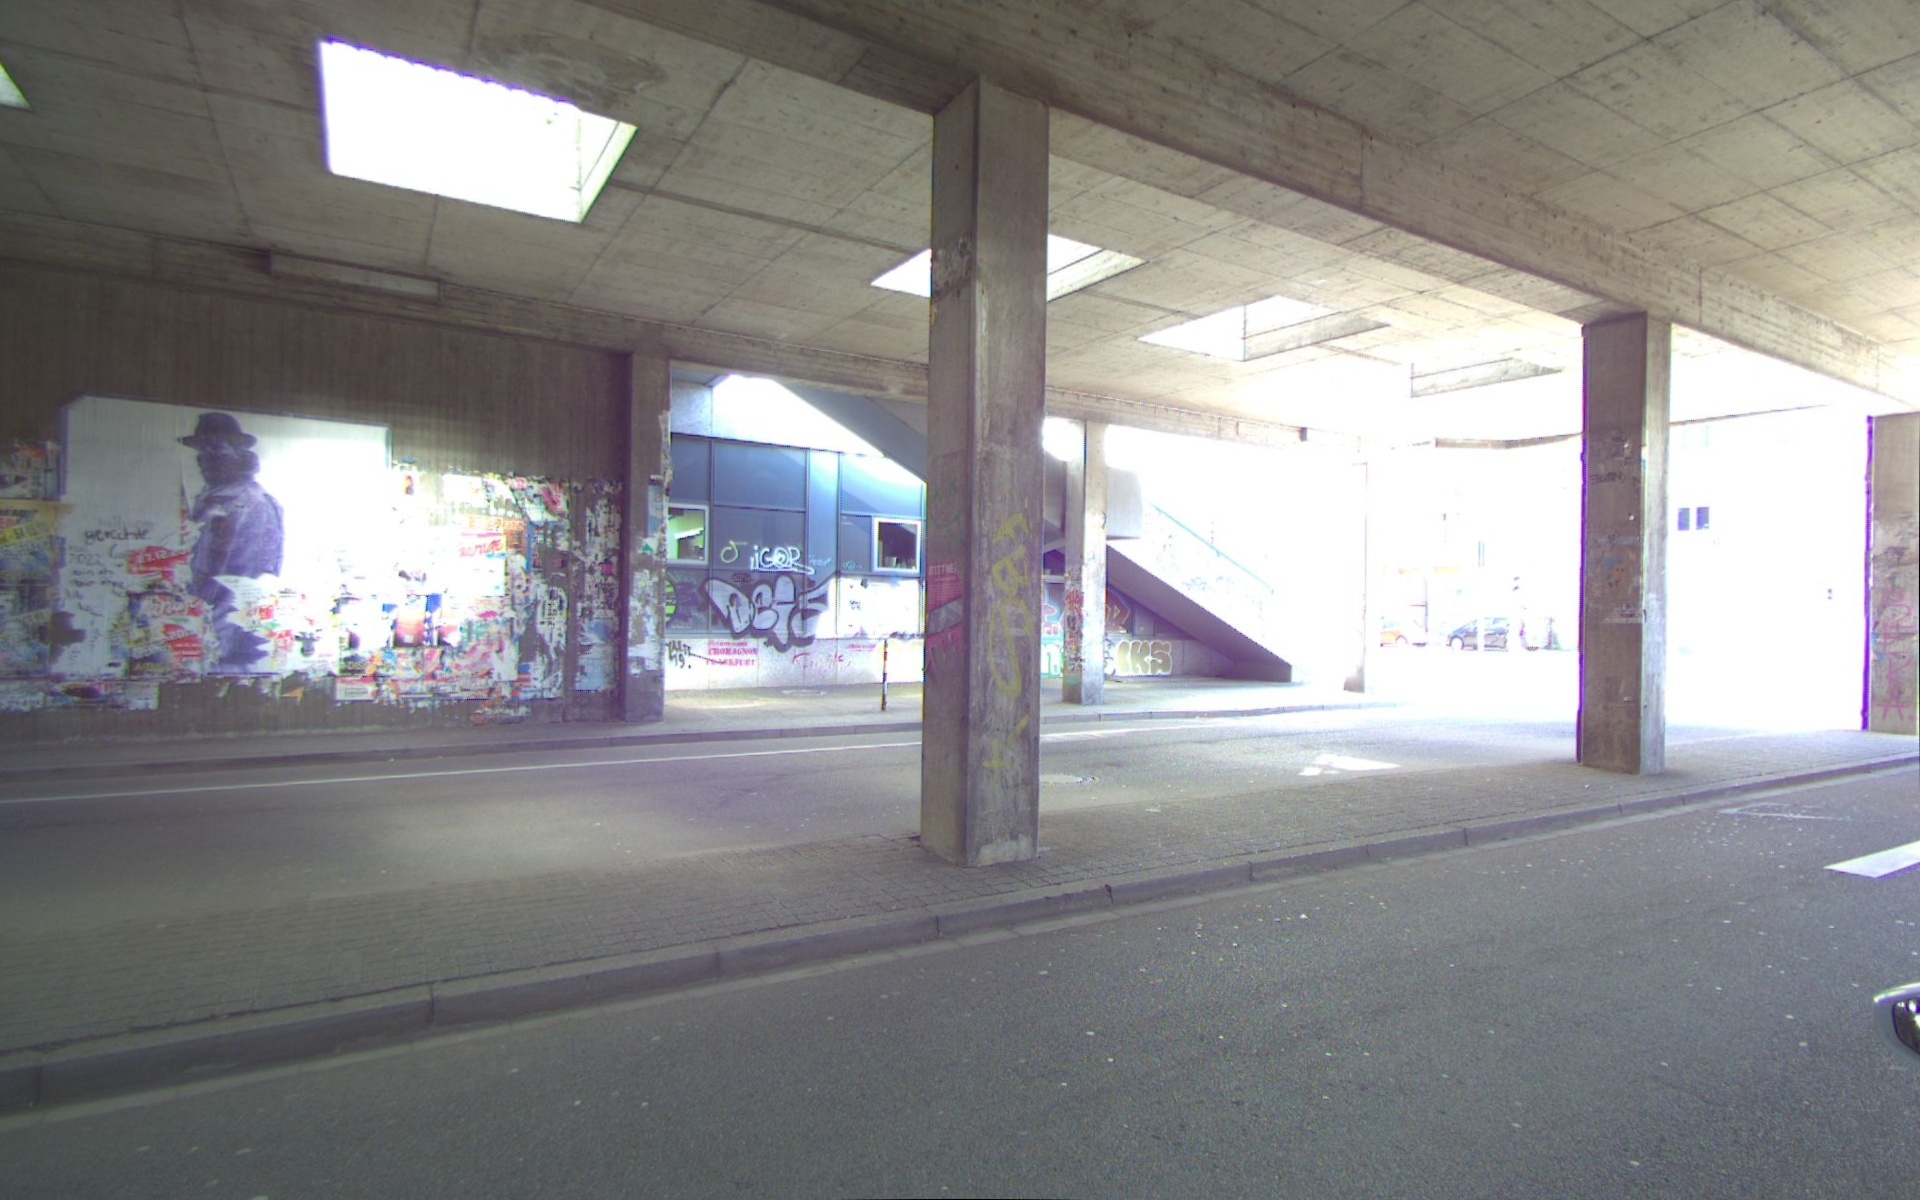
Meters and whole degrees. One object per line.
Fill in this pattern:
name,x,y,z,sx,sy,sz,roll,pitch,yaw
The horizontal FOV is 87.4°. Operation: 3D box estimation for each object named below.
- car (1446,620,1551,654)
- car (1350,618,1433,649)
car,25.464,1.721,47.650,1.718,1.495,4.089,2,-1,-31
car,22.552,1.742,52.605,1.730,1.495,3.741,2,-1,-31
